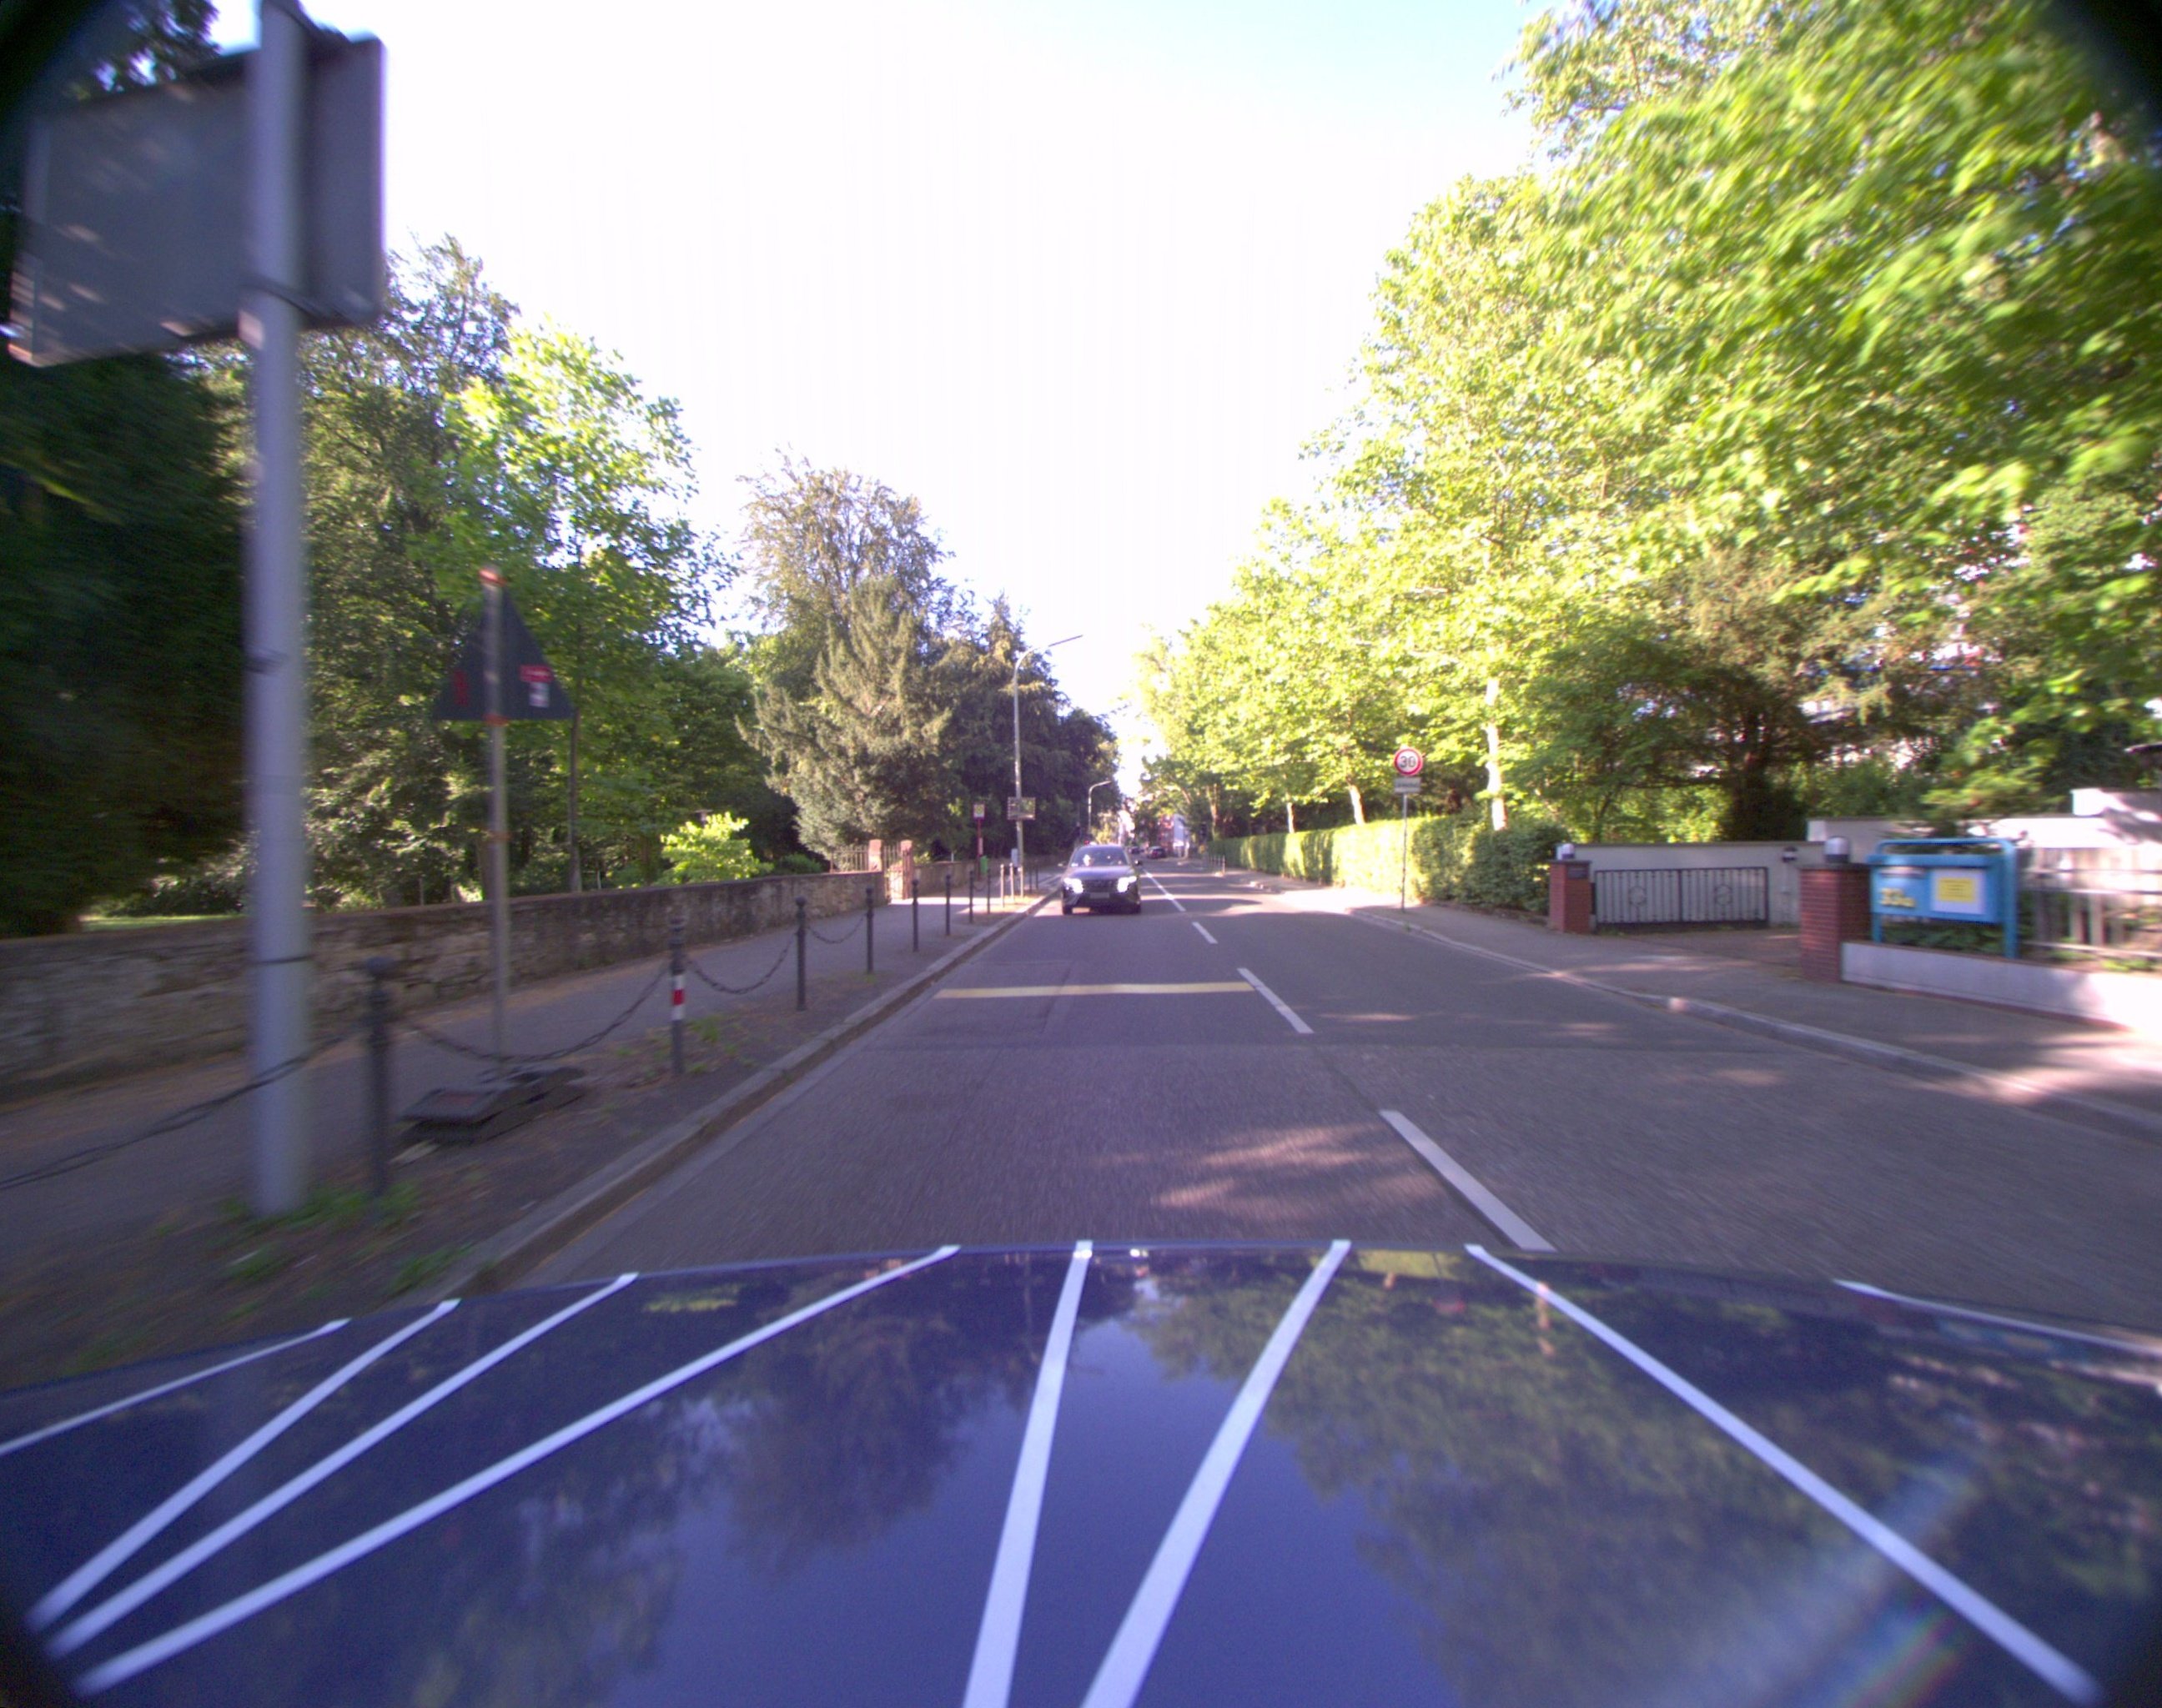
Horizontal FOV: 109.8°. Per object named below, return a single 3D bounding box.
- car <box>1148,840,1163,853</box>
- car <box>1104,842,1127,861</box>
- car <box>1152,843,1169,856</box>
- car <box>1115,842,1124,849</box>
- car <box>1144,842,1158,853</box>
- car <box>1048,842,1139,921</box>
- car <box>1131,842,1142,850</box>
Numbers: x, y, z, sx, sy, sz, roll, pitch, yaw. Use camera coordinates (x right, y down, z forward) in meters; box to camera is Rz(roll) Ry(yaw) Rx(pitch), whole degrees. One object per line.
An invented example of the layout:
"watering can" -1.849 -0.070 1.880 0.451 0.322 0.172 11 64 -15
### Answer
"car" 9.621 -0.973 98.562 1.627 1.538 3.322 -1 1 1
"car" 3.489 -0.263 75.926 1.998 1.630 4.001 -3 1 6
"car" 9.680 -0.513 93.130 1.689 1.426 3.616 -4 1 1
"car" 8.678 -1.957 172.127 1.824 1.375 3.933 2 1 -2
"car" 9.455 -0.922 102.942 1.627 1.426 3.559 -3 1 1
"car" 0.424 0.571 18.577 1.936 1.676 4.433 -1 1 4
"car" 10.942 -1.596 149.772 1.824 1.375 3.933 2 1 -2
